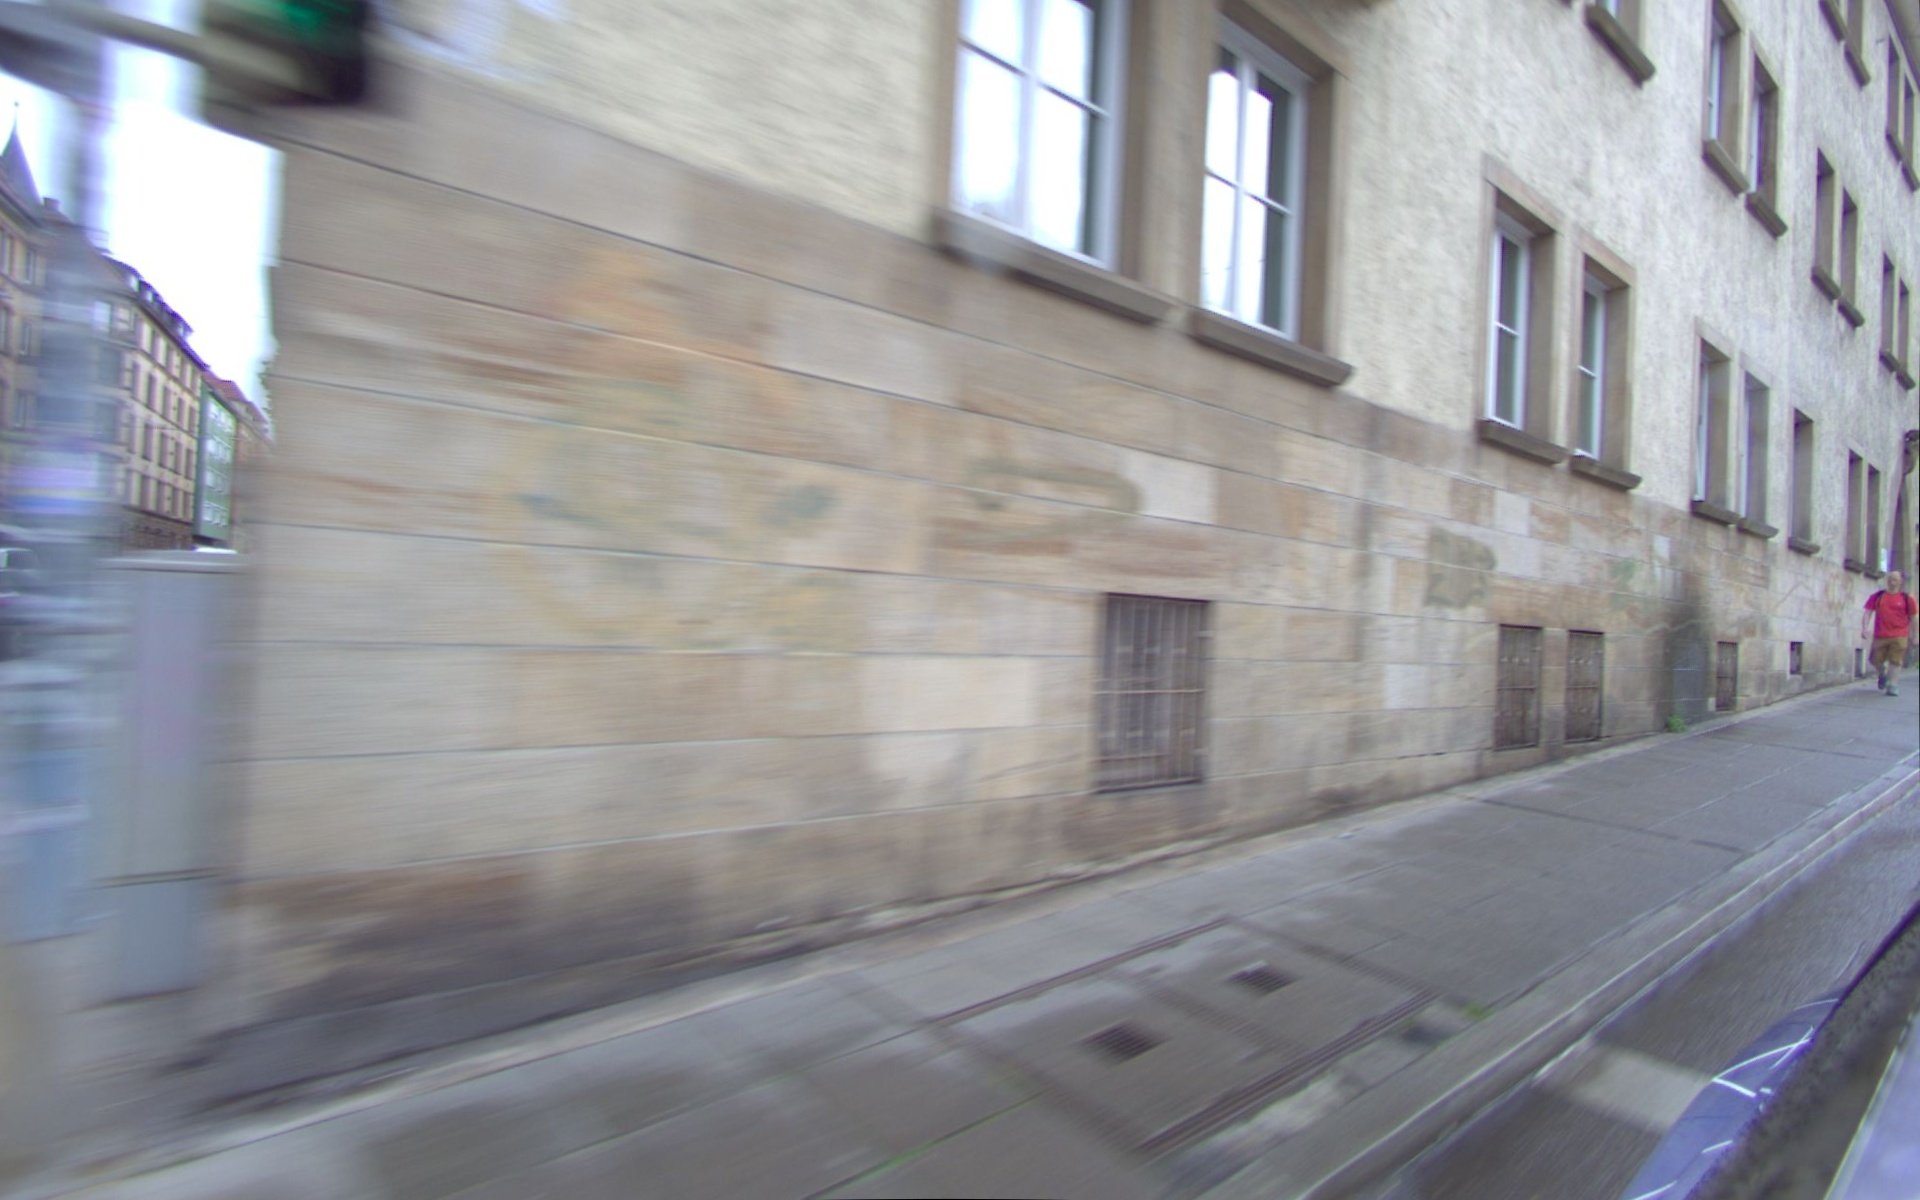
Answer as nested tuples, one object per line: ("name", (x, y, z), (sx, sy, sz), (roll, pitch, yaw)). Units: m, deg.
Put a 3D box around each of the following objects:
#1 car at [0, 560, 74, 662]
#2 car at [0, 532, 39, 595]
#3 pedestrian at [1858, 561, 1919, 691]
("car", (-16.395, 0.107, 16.787), (1.797, 1.473, 3.868), (1, 2, -30))
("car", (-33.588, -1.299, 34.878), (1.797, 2.096, 4.338), (0, 3, -30))
("pedestrian", (13.555, 0.359, 14.527), (0.804, 1.785, 0.749), (0, 4, -40))
